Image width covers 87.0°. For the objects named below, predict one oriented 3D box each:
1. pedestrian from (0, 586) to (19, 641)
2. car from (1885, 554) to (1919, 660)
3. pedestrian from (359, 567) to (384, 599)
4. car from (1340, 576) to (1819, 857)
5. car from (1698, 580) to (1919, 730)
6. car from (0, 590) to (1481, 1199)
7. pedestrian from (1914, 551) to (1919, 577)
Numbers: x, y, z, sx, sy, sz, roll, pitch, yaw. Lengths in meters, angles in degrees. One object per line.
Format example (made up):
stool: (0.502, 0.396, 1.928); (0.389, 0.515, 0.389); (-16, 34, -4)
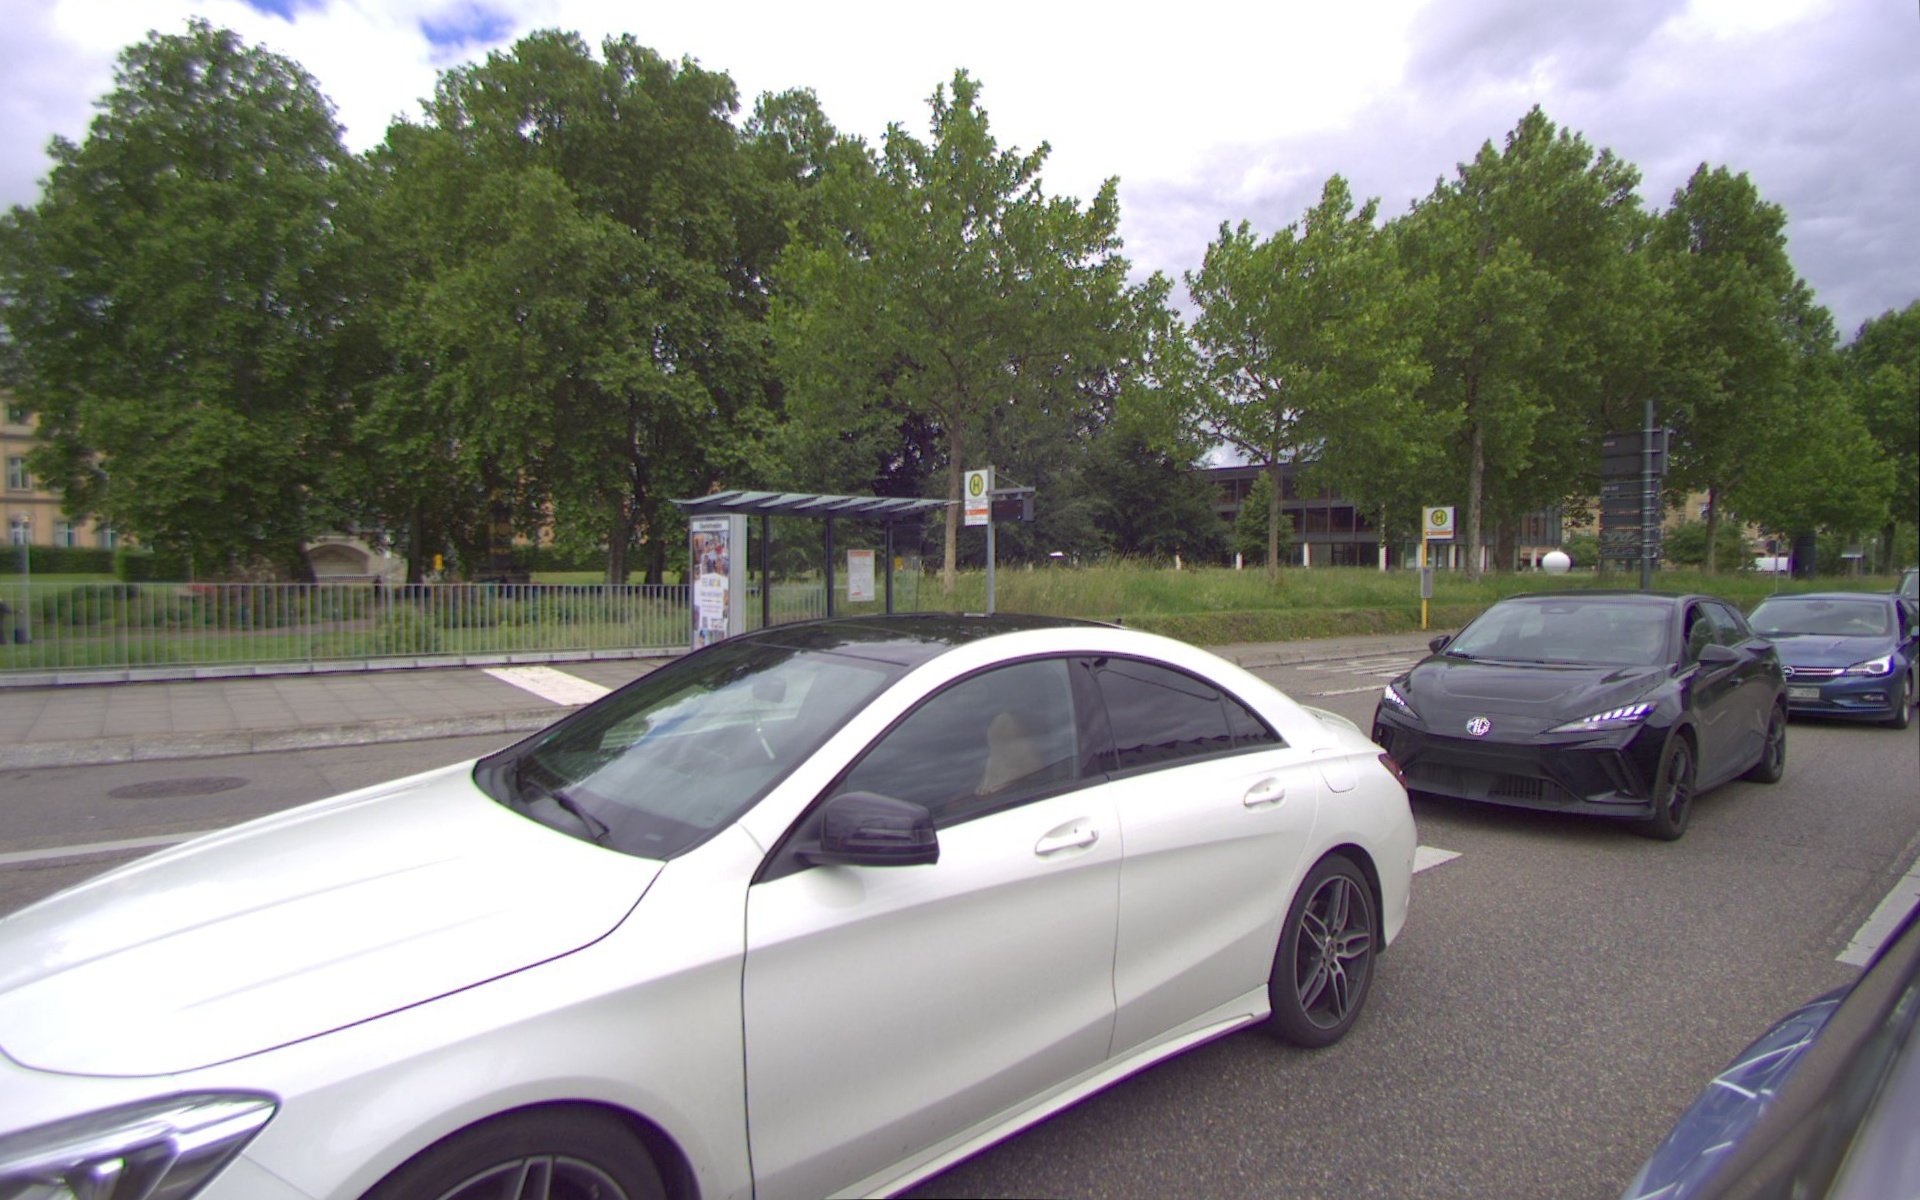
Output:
pedestrian: (-28.467, 0.405, 29.930); (0.674, 1.621, 0.654); (-1, 0, 16)
car: (18.999, 0.087, 18.836); (4.720, 1.856, 2.020); (-1, 2, -40)
pedestrian: (-38.427, -1.128, 66.101); (1.084, 2.039, 0.943); (-2, 0, -2)
car: (4.727, 0.585, 7.509); (4.020, 1.508, 1.852); (-1, 2, -40)
car: (10.420, 0.502, 11.993); (3.944, 1.452, 1.804); (-1, 2, -40)
car: (-0.260, 0.730, 3.217); (4.446, 1.437, 1.799); (-1, 2, -39)
pedestrian: (76.444, -2.866, 80.305); (1.160, 2.039, 0.891); (-2, 0, -40)
